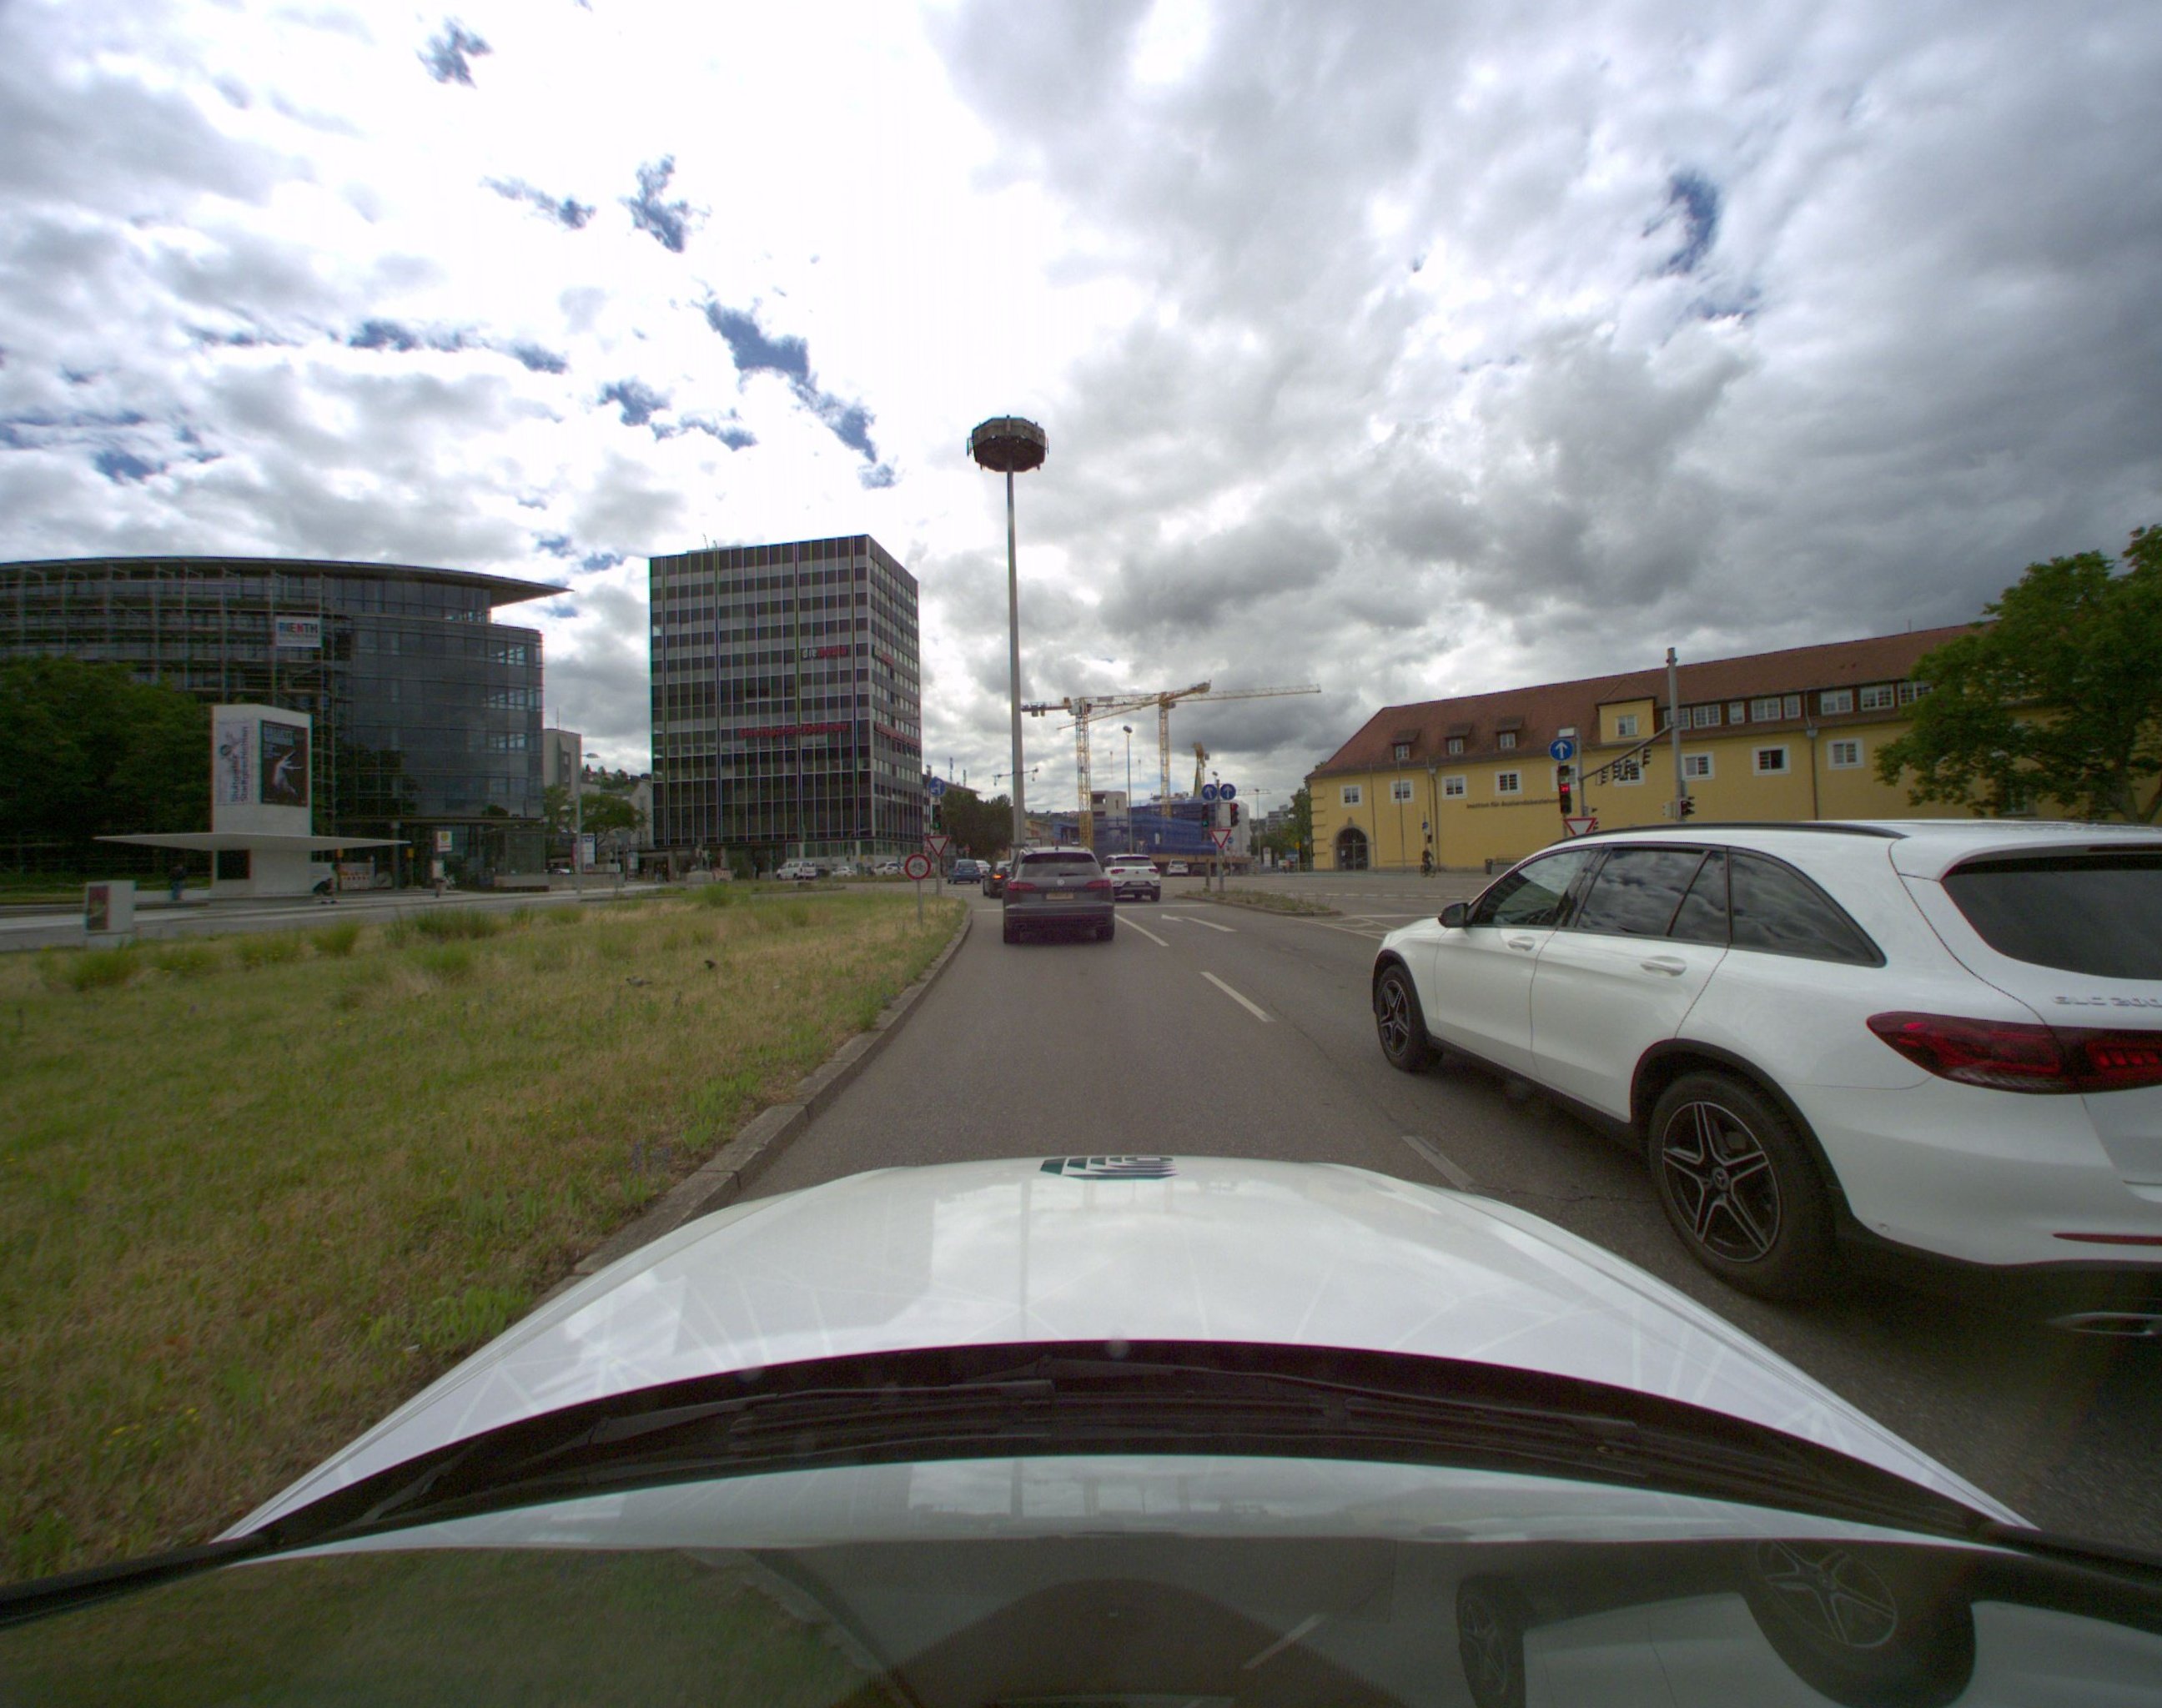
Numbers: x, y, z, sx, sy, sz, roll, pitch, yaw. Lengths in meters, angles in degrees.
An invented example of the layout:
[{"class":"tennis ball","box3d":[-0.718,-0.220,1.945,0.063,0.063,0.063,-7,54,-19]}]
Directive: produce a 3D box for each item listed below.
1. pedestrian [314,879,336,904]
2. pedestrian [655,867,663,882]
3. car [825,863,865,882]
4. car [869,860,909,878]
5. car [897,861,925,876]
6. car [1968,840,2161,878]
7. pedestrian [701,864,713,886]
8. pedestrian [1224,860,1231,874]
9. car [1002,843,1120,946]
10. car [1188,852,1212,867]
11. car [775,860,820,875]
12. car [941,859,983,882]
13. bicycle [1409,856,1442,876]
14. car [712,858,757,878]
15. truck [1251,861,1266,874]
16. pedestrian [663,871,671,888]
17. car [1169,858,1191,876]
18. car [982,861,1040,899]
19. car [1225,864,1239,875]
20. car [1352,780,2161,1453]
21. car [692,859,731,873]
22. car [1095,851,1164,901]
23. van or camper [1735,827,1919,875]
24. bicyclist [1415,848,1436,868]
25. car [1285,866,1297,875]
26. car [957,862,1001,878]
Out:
[{"class":"pedestrian","box3d":[-33.403,1.660,35.984,0.472,1.081,0.561,0,0,6]},{"class":"pedestrian","box3d":[-38.877,1.900,75.076,0.540,1.396,0.648,0,0,-36]},{"class":"car","box3d":[-24.770,1.911,85.421,3.949,1.610,1.913,1,6,38]},{"class":"car","box3d":[-16.689,1.295,70.666,1.829,1.496,3.860,-1,0,-40]},{"class":"car","box3d":[-16.346,1.351,78.085,1.650,1.396,3.563,-1,0,-29]},{"class":"car","box3d":[38.837,0.215,32.359,4.632,1.420,1.607,-1,0,36]},{"class":"pedestrian","box3d":[-39.495,2.195,86.032,0.965,2.361,1.029,-1,0,-35]},{"class":"pedestrian","box3d":[14.068,1.243,78.289,0.544,1.282,0.465,-1,0,20]},{"class":"car","box3d":[-0.494,0.653,15.435,1.930,1.647,3.993,-1,0,-5]},{"class":"car","box3d":[14.562,0.660,99.643,1.970,1.666,4.003,-1,0,23]},{"class":"car","box3d":[-29.571,1.412,84.939,4.552,1.502,2.266,-1,0,39]},{"class":"car","box3d":[-7.370,0.993,50.078,1.799,1.356,4.043,-1,0,-20]},{"class":"bicycle","box3d":[20.339,0.711,48.077,0.920,1.158,2.465,0,0,0]},{"class":"car","box3d":[-36.305,1.498,85.362,3.959,2.013,2.007,-1,0,13]},{"class":"truck","box3d":[34.030,2.533,155.670,2.110,2.453,4.852,-1,0,20]},{"class":"pedestrian","box3d":[-38.308,2.333,75.345,0.626,1.593,0.584,0,-1,-36]},{"class":"car","box3d":[9.233,1.173,76.051,1.792,1.502,3.992,-1,0,10]},{"class":"car","box3d":[-2.825,0.984,32.137,1.794,1.356,4.053,-1,0,-12]},{"class":"car","box3d":[23.303,2.394,125.677,1.789,1.502,3.998,-1,0,17]},{"class":"car","box3d":[3.073,0.617,4.216,1.813,1.647,4.377,-1,0,-1]},{"class":"car","box3d":[-40.131,1.300,88.426,3.931,1.502,1.735,-1,0,27]},{"class":"car","box3d":[1.602,0.692,27.959,1.890,1.585,3.795,-1,0,-4]},{"class":"van or camper","box3d":[33.365,-0.078,36.742,5.947,2.014,2.032,-1,-1,40]},{"class":"bicyclist","box3d":[20.335,0.253,48.061,0.920,1.159,0.725,0,0,0]},{"class":"car","box3d":[51.858,4.009,201.498,1.987,2.013,4.000,-1,0,1]},{"class":"car","box3d":[-7.799,1.240,61.993,1.682,1.139,4.028,-1,0,-33]}]
